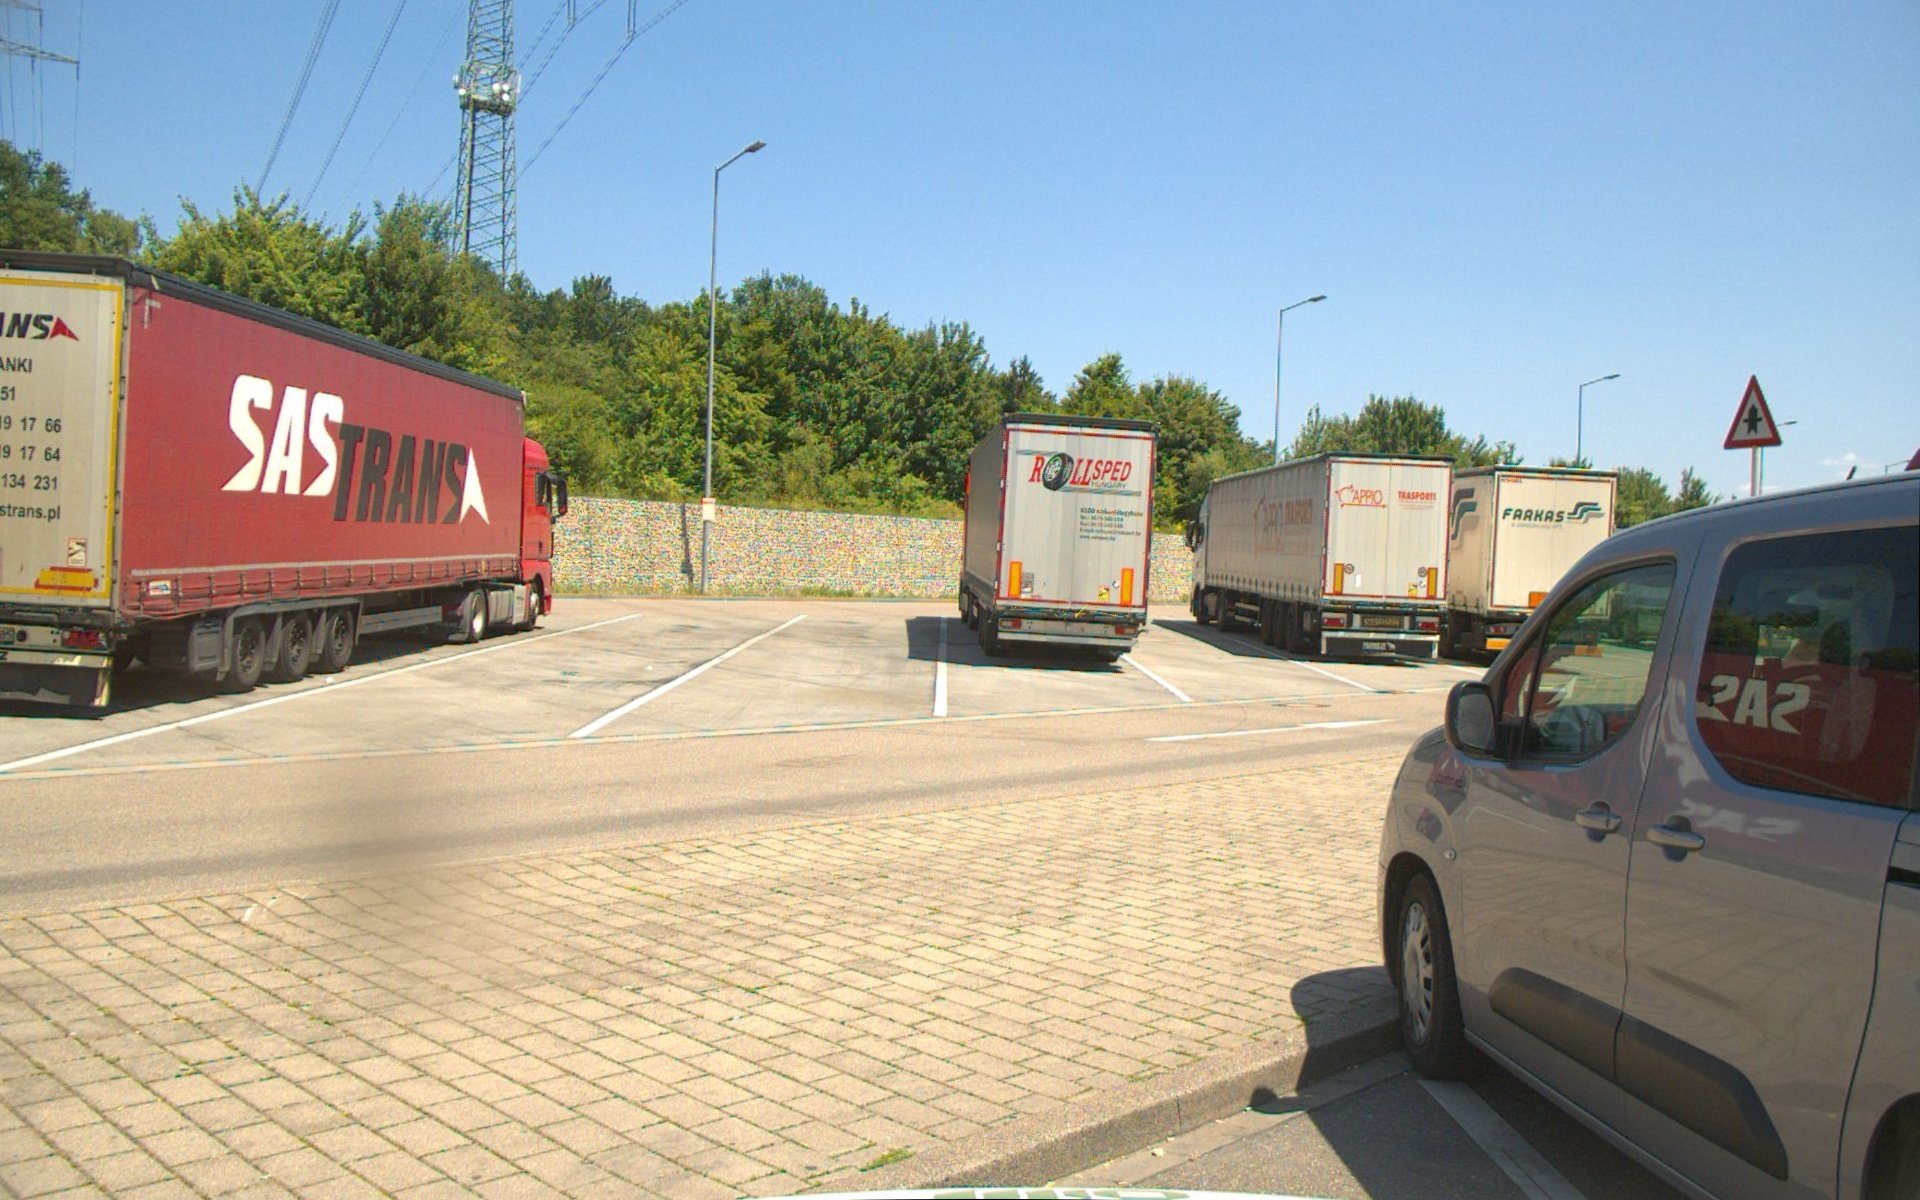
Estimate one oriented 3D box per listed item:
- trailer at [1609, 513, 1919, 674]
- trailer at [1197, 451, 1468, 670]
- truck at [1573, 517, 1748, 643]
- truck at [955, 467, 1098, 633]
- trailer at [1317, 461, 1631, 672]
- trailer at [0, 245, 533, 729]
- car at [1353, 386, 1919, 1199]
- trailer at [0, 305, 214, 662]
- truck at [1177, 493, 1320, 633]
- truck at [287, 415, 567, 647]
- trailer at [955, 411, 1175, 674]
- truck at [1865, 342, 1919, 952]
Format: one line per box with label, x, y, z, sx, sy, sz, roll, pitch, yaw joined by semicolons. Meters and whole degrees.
trailer;21.845;-0.400;44.533;2.754;3.568;14.395;3;2;-1
trailer;8.173;-1.039;38.875;2.754;4.058;14.395;3;2;-1
truck;21.766;-0.707;51.763;2.746;3.582;5.900;3;2;-1
truck;1.504;-1.250;40.555;3.041;3.628;5.900;3;2;-1
trailer;11.736;-0.945;39.981;2.754;4.058;14.395;3;2;-1
trailer;-8.720;-1.299;21.457;2.735;4.155;14.131;3;2;-1
car;2.448;0.599;3.880;1.832;1.895;4.174;3;1;-2
trailer;-12.546;-1.344;17.733;2.739;4.155;14.131;3;2;-1
truck;8.054;-1.104;46.975;2.805;3.582;5.900;3;2;-1
truck;-8.786;-1.160;28.027;2.793;3.385;5.900;3;2;-1
trailer;1.662;-1.203;33.665;3.070;4.058;14.393;3;2;-1
truck;5.010;0.196;5.003;1.937;2.668;5.307;1;0;4
